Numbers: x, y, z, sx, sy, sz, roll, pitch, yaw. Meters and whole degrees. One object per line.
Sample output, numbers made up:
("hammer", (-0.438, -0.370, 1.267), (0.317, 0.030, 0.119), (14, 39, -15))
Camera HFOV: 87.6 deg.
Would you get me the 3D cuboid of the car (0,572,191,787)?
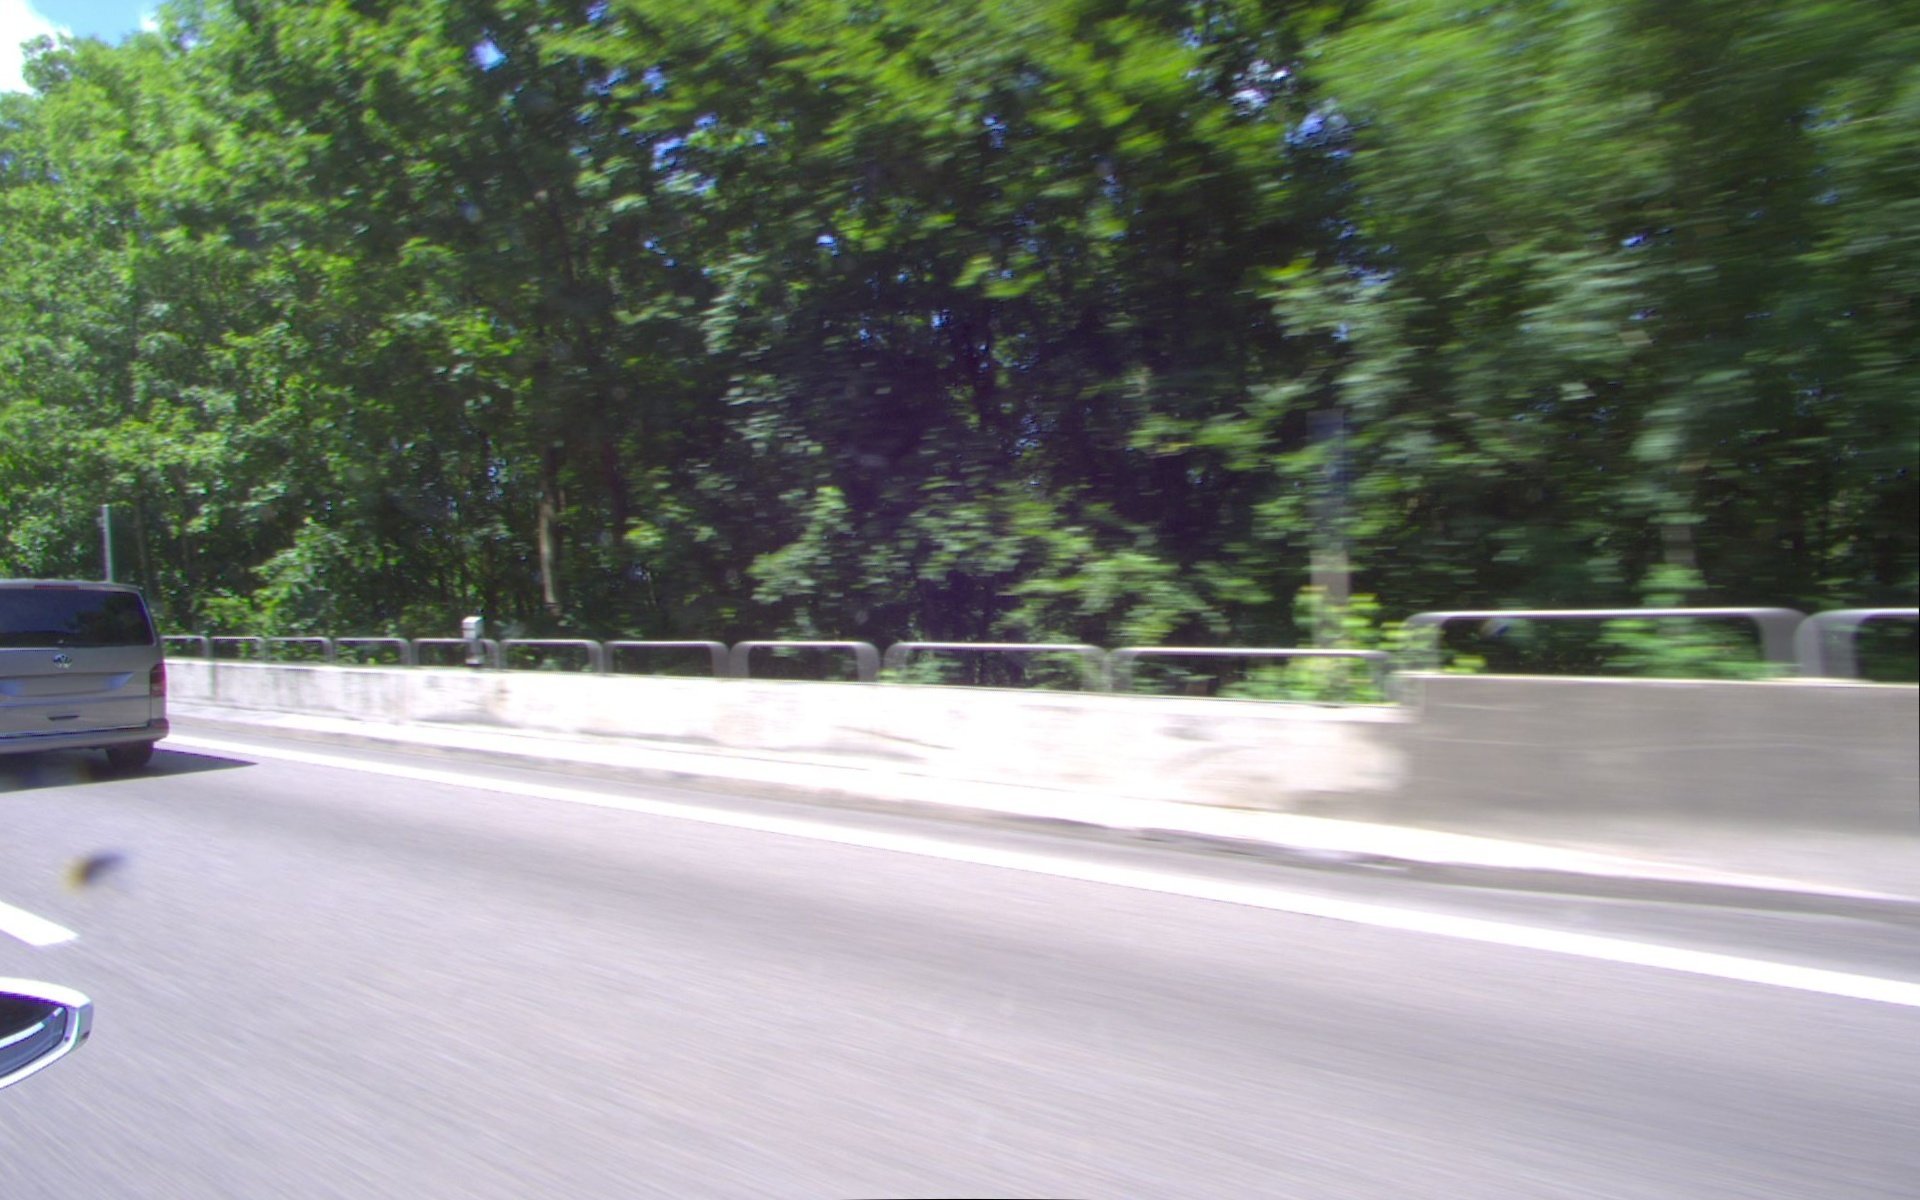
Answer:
("car", (-10.431, 0.757, 10.765), (4.627, 1.956, 1.937), (0, -1, 32))
